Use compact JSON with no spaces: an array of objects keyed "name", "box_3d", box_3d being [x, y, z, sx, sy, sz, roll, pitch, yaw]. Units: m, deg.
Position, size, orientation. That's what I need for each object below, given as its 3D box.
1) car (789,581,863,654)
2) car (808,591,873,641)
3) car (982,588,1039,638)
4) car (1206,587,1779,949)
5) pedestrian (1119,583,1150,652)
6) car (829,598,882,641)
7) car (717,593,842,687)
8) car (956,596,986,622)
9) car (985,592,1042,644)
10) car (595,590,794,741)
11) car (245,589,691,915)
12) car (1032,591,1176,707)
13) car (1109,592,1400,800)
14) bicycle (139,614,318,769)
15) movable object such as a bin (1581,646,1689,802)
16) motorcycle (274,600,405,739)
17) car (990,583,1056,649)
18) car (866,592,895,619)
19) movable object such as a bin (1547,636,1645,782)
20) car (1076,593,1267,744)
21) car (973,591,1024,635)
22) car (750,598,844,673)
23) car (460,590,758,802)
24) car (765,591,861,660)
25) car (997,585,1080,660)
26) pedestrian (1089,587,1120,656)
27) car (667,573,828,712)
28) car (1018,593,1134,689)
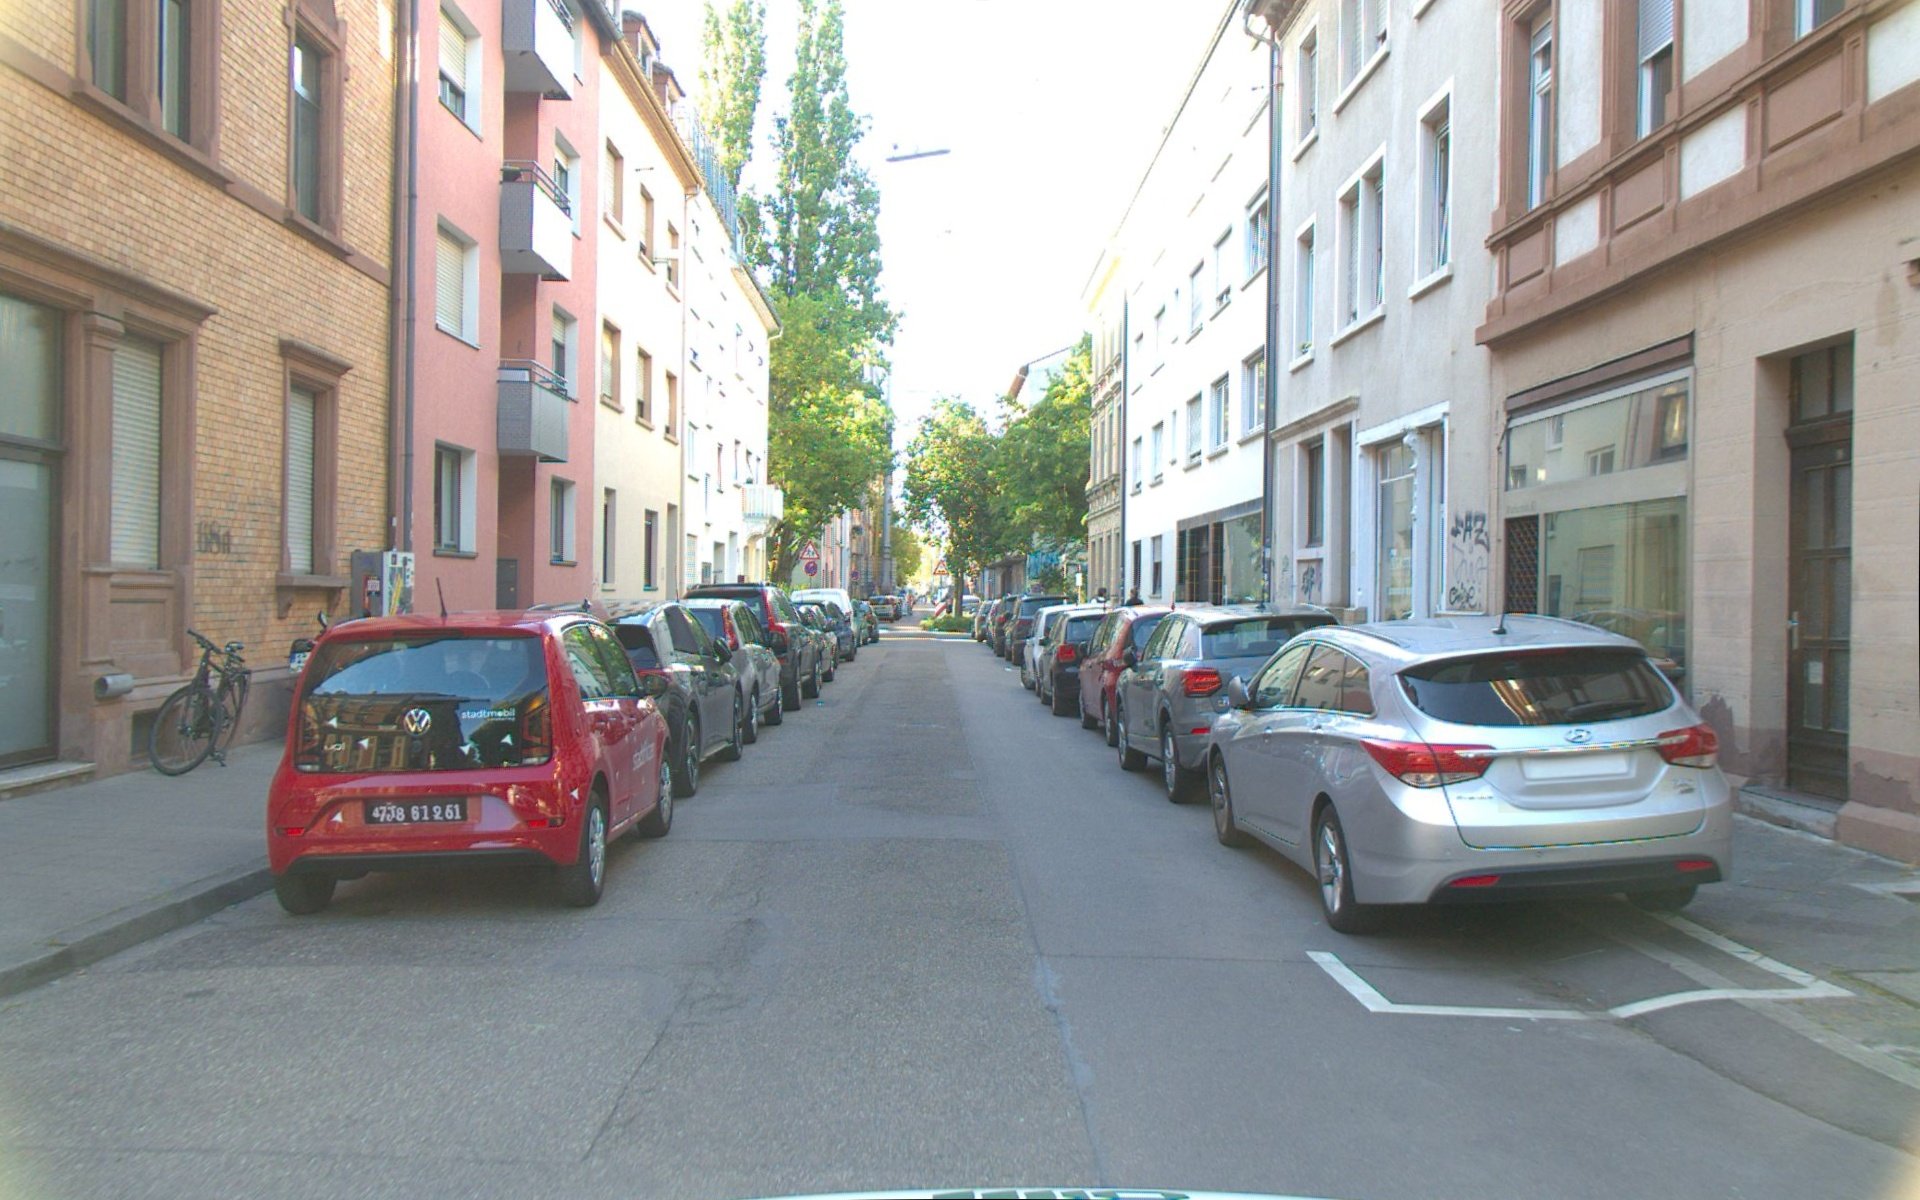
[{"name":"car","box_3d":[-3.520,0.434,43.931,1.729,1.816,4.038,-1,0,-2]},{"name":"car","box_3d":[-3.781,0.491,52.712,1.635,1.495,3.821,-1,0,2]},{"name":"car","box_3d":[1.672,0.411,55.603,1.642,1.588,3.795,-1,0,-2]},{"name":"car","box_3d":[2.644,0.712,9.361,1.709,1.533,4.356,-1,0,-2]},{"name":"pedestrian","box_3d":[4.279,0.424,40.572,0.672,1.689,0.717,0,0,-2]},{"name":"car","box_3d":[-3.564,0.635,57.090,1.636,1.385,4.048,-1,0,-1]},{"name":"car","box_3d":[-3.186,0.657,29.880,1.707,1.533,4.346,-1,0,1]},{"name":"car","box_3d":[0.655,0.529,99.385,1.642,1.513,3.636,-1,0,-2]},{"name":"car","box_3d":[1.635,0.539,51.388,1.535,1.509,3.618,-1,0,-2]},{"name":"car","box_3d":[-2.974,0.674,19.287,1.622,1.548,3.944,-1,0,1]},{"name":"car","box_3d":[-2.624,0.709,9.657,1.595,1.507,3.600,-1,0,-2]},{"name":"car","box_3d":[2.046,0.648,24.411,1.642,1.533,3.936,-1,0,-2]},{"name":"car","box_3d":[2.419,0.717,14.550,1.709,1.533,4.020,-1,0,-2]},{"name":"bicycle","box_3d":[-5.824,0.691,13.282,0.522,1.092,1.891,5,0,-1]},{"name":"movable object such as a bin","box_3d":[4.808,0.870,11.806,0.503,1.058,0.619,-1,0,-1]},{"name":"motorcycle","box_3d":[-5.851,0.618,15.700,0.522,1.227,1.908,1,0,-1]},{"name":"car","box_3d":[1.705,0.445,46.040,1.641,1.711,4.094,-1,-1,0]},{"name":"car","box_3d":[-4.705,0.331,97.942,1.642,1.513,4.093,-1,0,-2]},{"name":"movable object such as a bin","box_3d":[4.821,0.813,12.560,0.503,1.058,0.594,-1,0,-1]},{"name":"car","box_3d":[2.359,0.708,19.369,1.566,1.533,4.183,-1,0,-2]},{"name":"car","box_3d":[1.378,0.465,60.501,1.642,1.513,4.093,-1,0,-2]},{"name":"car","box_3d":[-3.390,0.704,34.918,1.639,1.412,4.180,-1,0,-1]},{"name":"car","box_3d":[-2.885,0.707,14.459,1.660,1.548,4.096,-1,0,1]},{"name":"car","box_3d":[-3.433,0.559,39.310,1.638,1.512,3.994,-1,0,4]},{"name":"car","box_3d":[1.900,0.527,41.082,1.642,1.655,4.249,-3,0,-2]},{"name":"pedestrian","box_3d":[3.531,0.520,40.498,0.672,1.689,0.717,0,0,-2]},{"name":"car","box_3d":[-3.041,0.550,24.526,1.707,1.842,4.672,-1,0,1]},{"name":"car","box_3d":[1.983,0.663,29.241,1.642,1.533,3.936,-1,0,-2]}]
